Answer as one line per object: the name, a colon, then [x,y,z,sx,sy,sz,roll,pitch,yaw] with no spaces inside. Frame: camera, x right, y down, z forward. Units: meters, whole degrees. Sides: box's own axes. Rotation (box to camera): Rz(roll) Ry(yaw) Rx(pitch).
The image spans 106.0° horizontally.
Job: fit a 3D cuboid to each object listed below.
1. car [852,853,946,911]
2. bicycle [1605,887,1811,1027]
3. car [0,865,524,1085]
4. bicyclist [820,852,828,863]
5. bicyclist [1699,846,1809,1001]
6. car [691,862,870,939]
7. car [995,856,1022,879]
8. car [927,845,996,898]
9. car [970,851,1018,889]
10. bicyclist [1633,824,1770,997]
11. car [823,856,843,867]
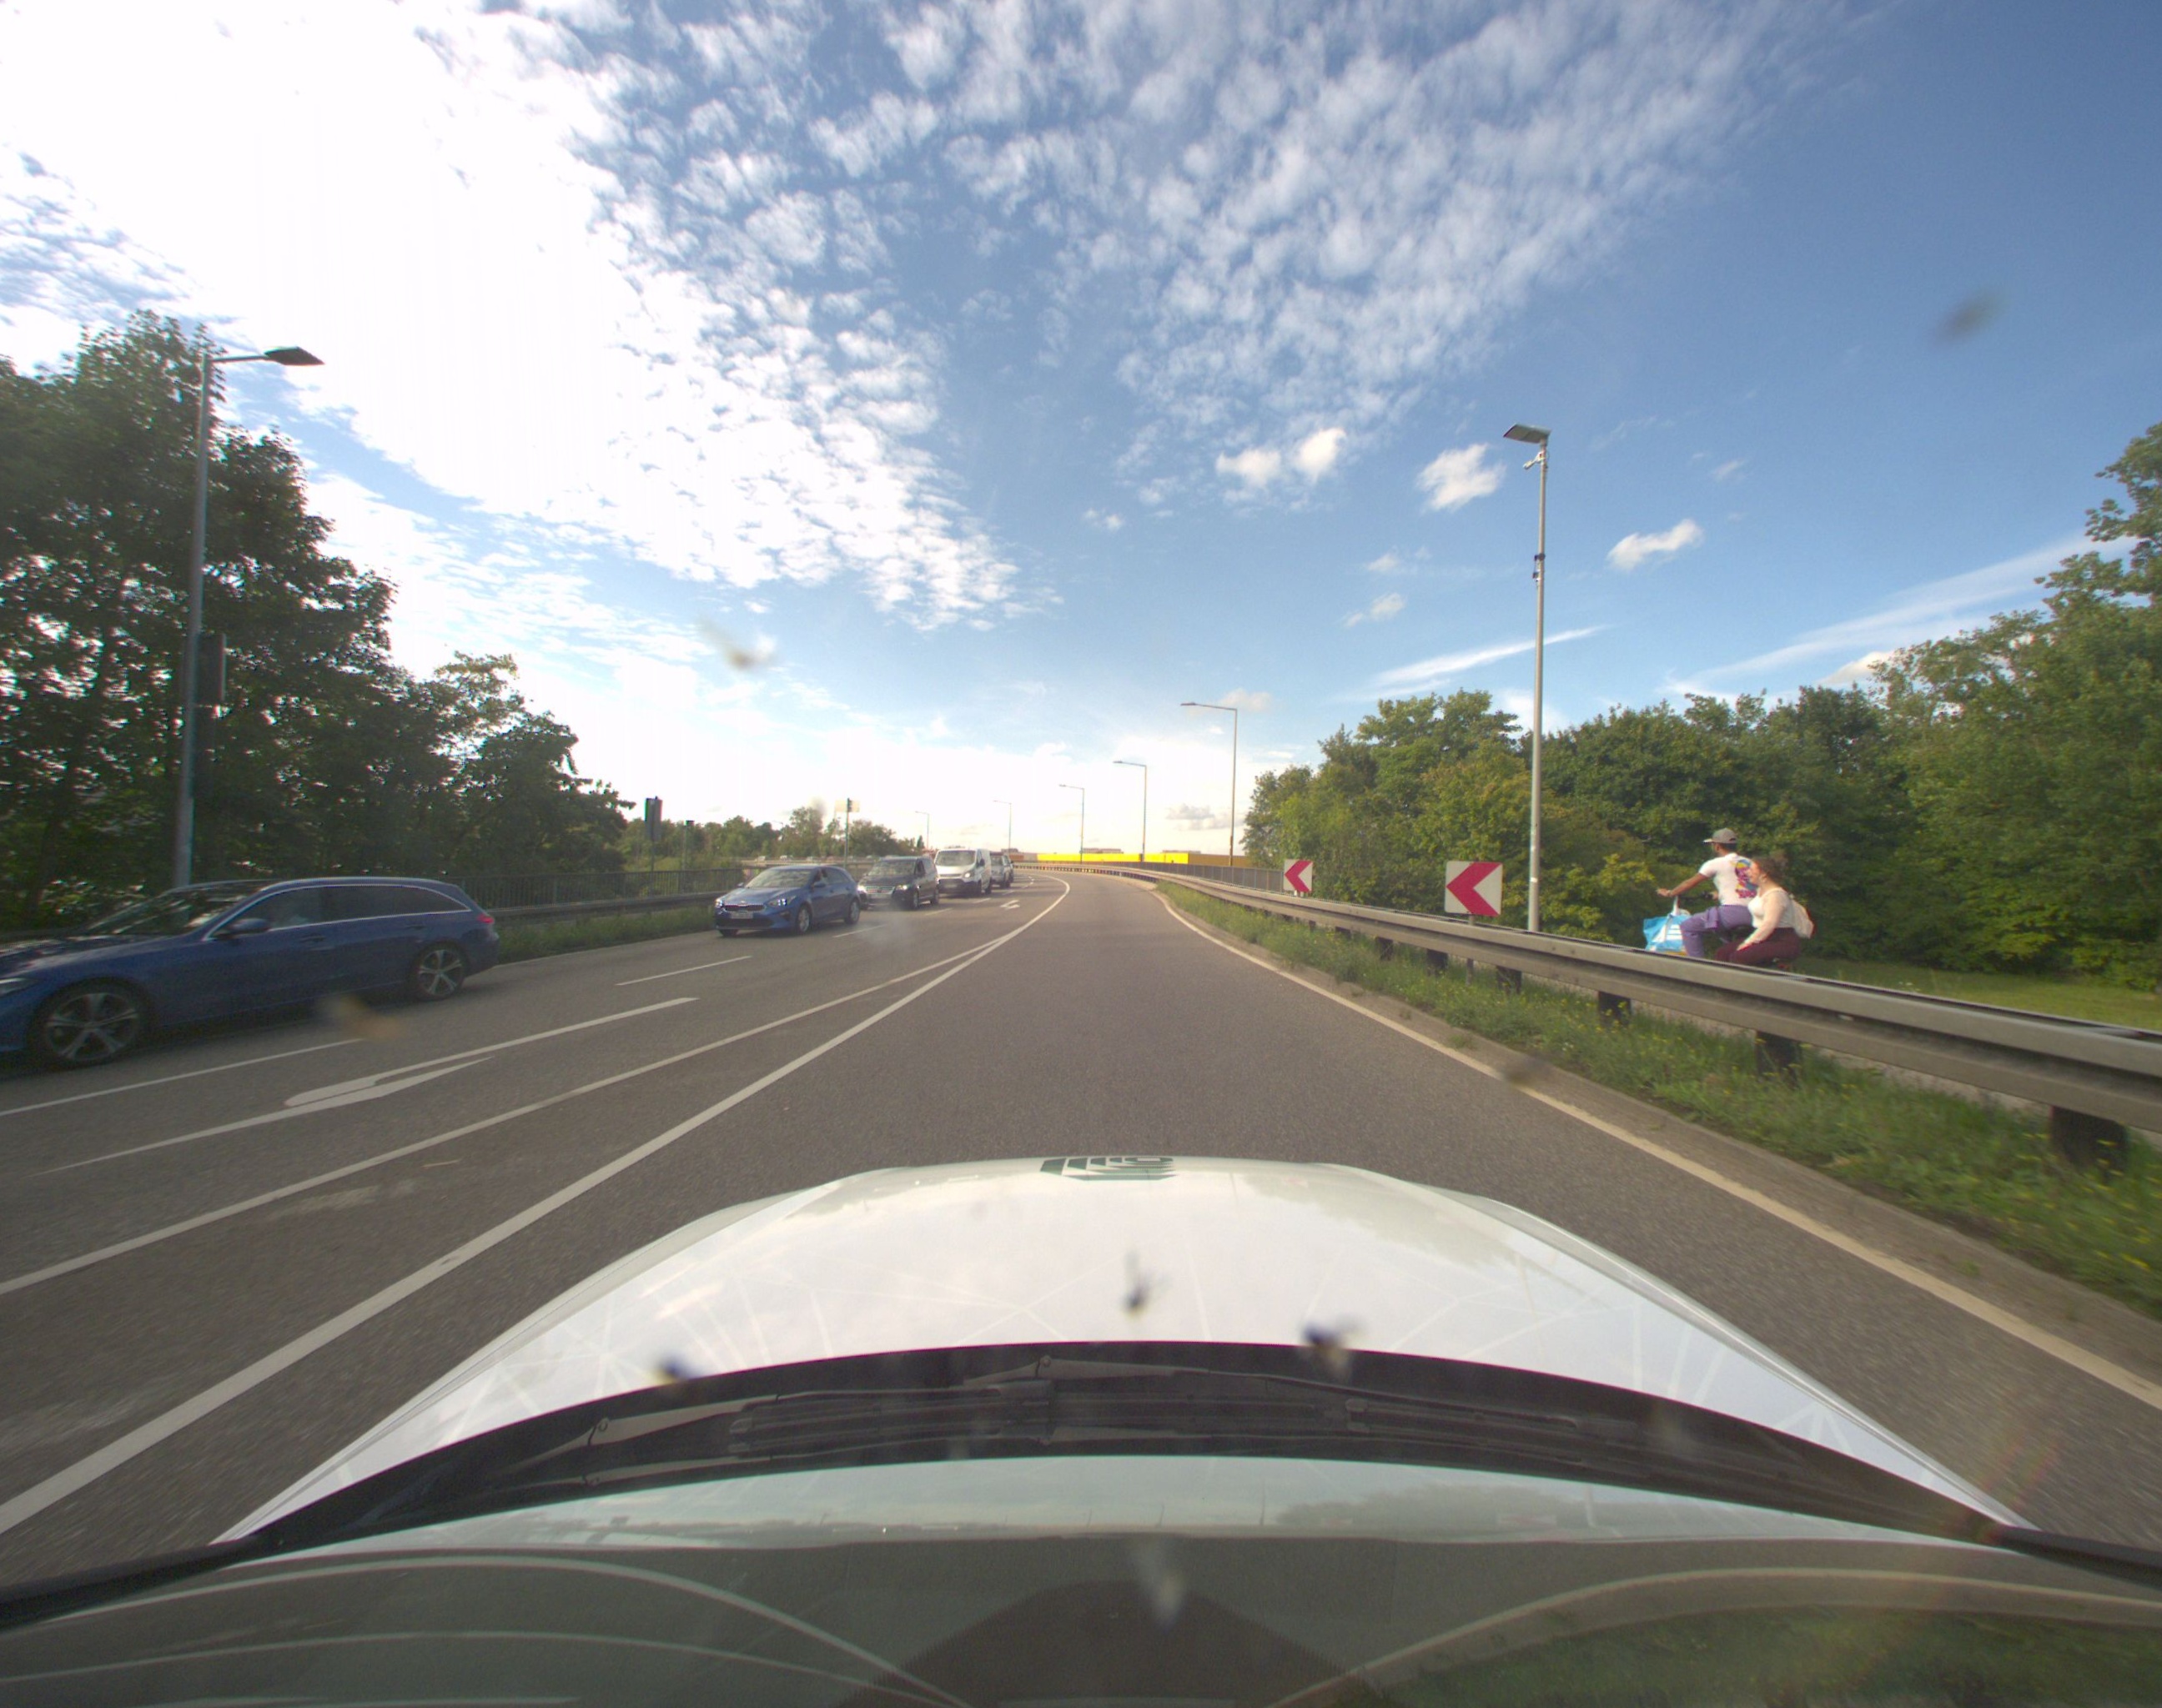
car: [-5.636,0.814,25.800,1.739,1.654,4.456,-1,0,3]
bicycle: [5.854,0.907,7.744,0.594,1.120,1.695,0,-1,-3]
car: [-8.408,0.923,8.196,1.803,1.520,4.777,-1,0,9]
bicyclist: [-41.315,0.555,131.029,0.773,1.660,1.106,0,-1,-43]
bicyclist: [5.877,0.586,7.134,0.498,1.301,0.538,0,-1,-3]
car: [-6.421,0.928,18.028,1.883,1.447,4.370,-1,0,7]
car: [-5.063,0.897,56.344,1.682,1.545,3.912,-1,0,-8]
car: [-4.766,0.659,33.226,1.978,1.964,5.049,-1,0,1]
car: [-4.243,0.744,40.117,1.766,1.746,3.840,-1,0,3]
bicyclist: [5.857,0.508,7.728,0.705,1.557,0.753,0,-1,-3]
car: [-41.938,1.278,137.785,1.789,1.746,3.790,-1,0,-43]
